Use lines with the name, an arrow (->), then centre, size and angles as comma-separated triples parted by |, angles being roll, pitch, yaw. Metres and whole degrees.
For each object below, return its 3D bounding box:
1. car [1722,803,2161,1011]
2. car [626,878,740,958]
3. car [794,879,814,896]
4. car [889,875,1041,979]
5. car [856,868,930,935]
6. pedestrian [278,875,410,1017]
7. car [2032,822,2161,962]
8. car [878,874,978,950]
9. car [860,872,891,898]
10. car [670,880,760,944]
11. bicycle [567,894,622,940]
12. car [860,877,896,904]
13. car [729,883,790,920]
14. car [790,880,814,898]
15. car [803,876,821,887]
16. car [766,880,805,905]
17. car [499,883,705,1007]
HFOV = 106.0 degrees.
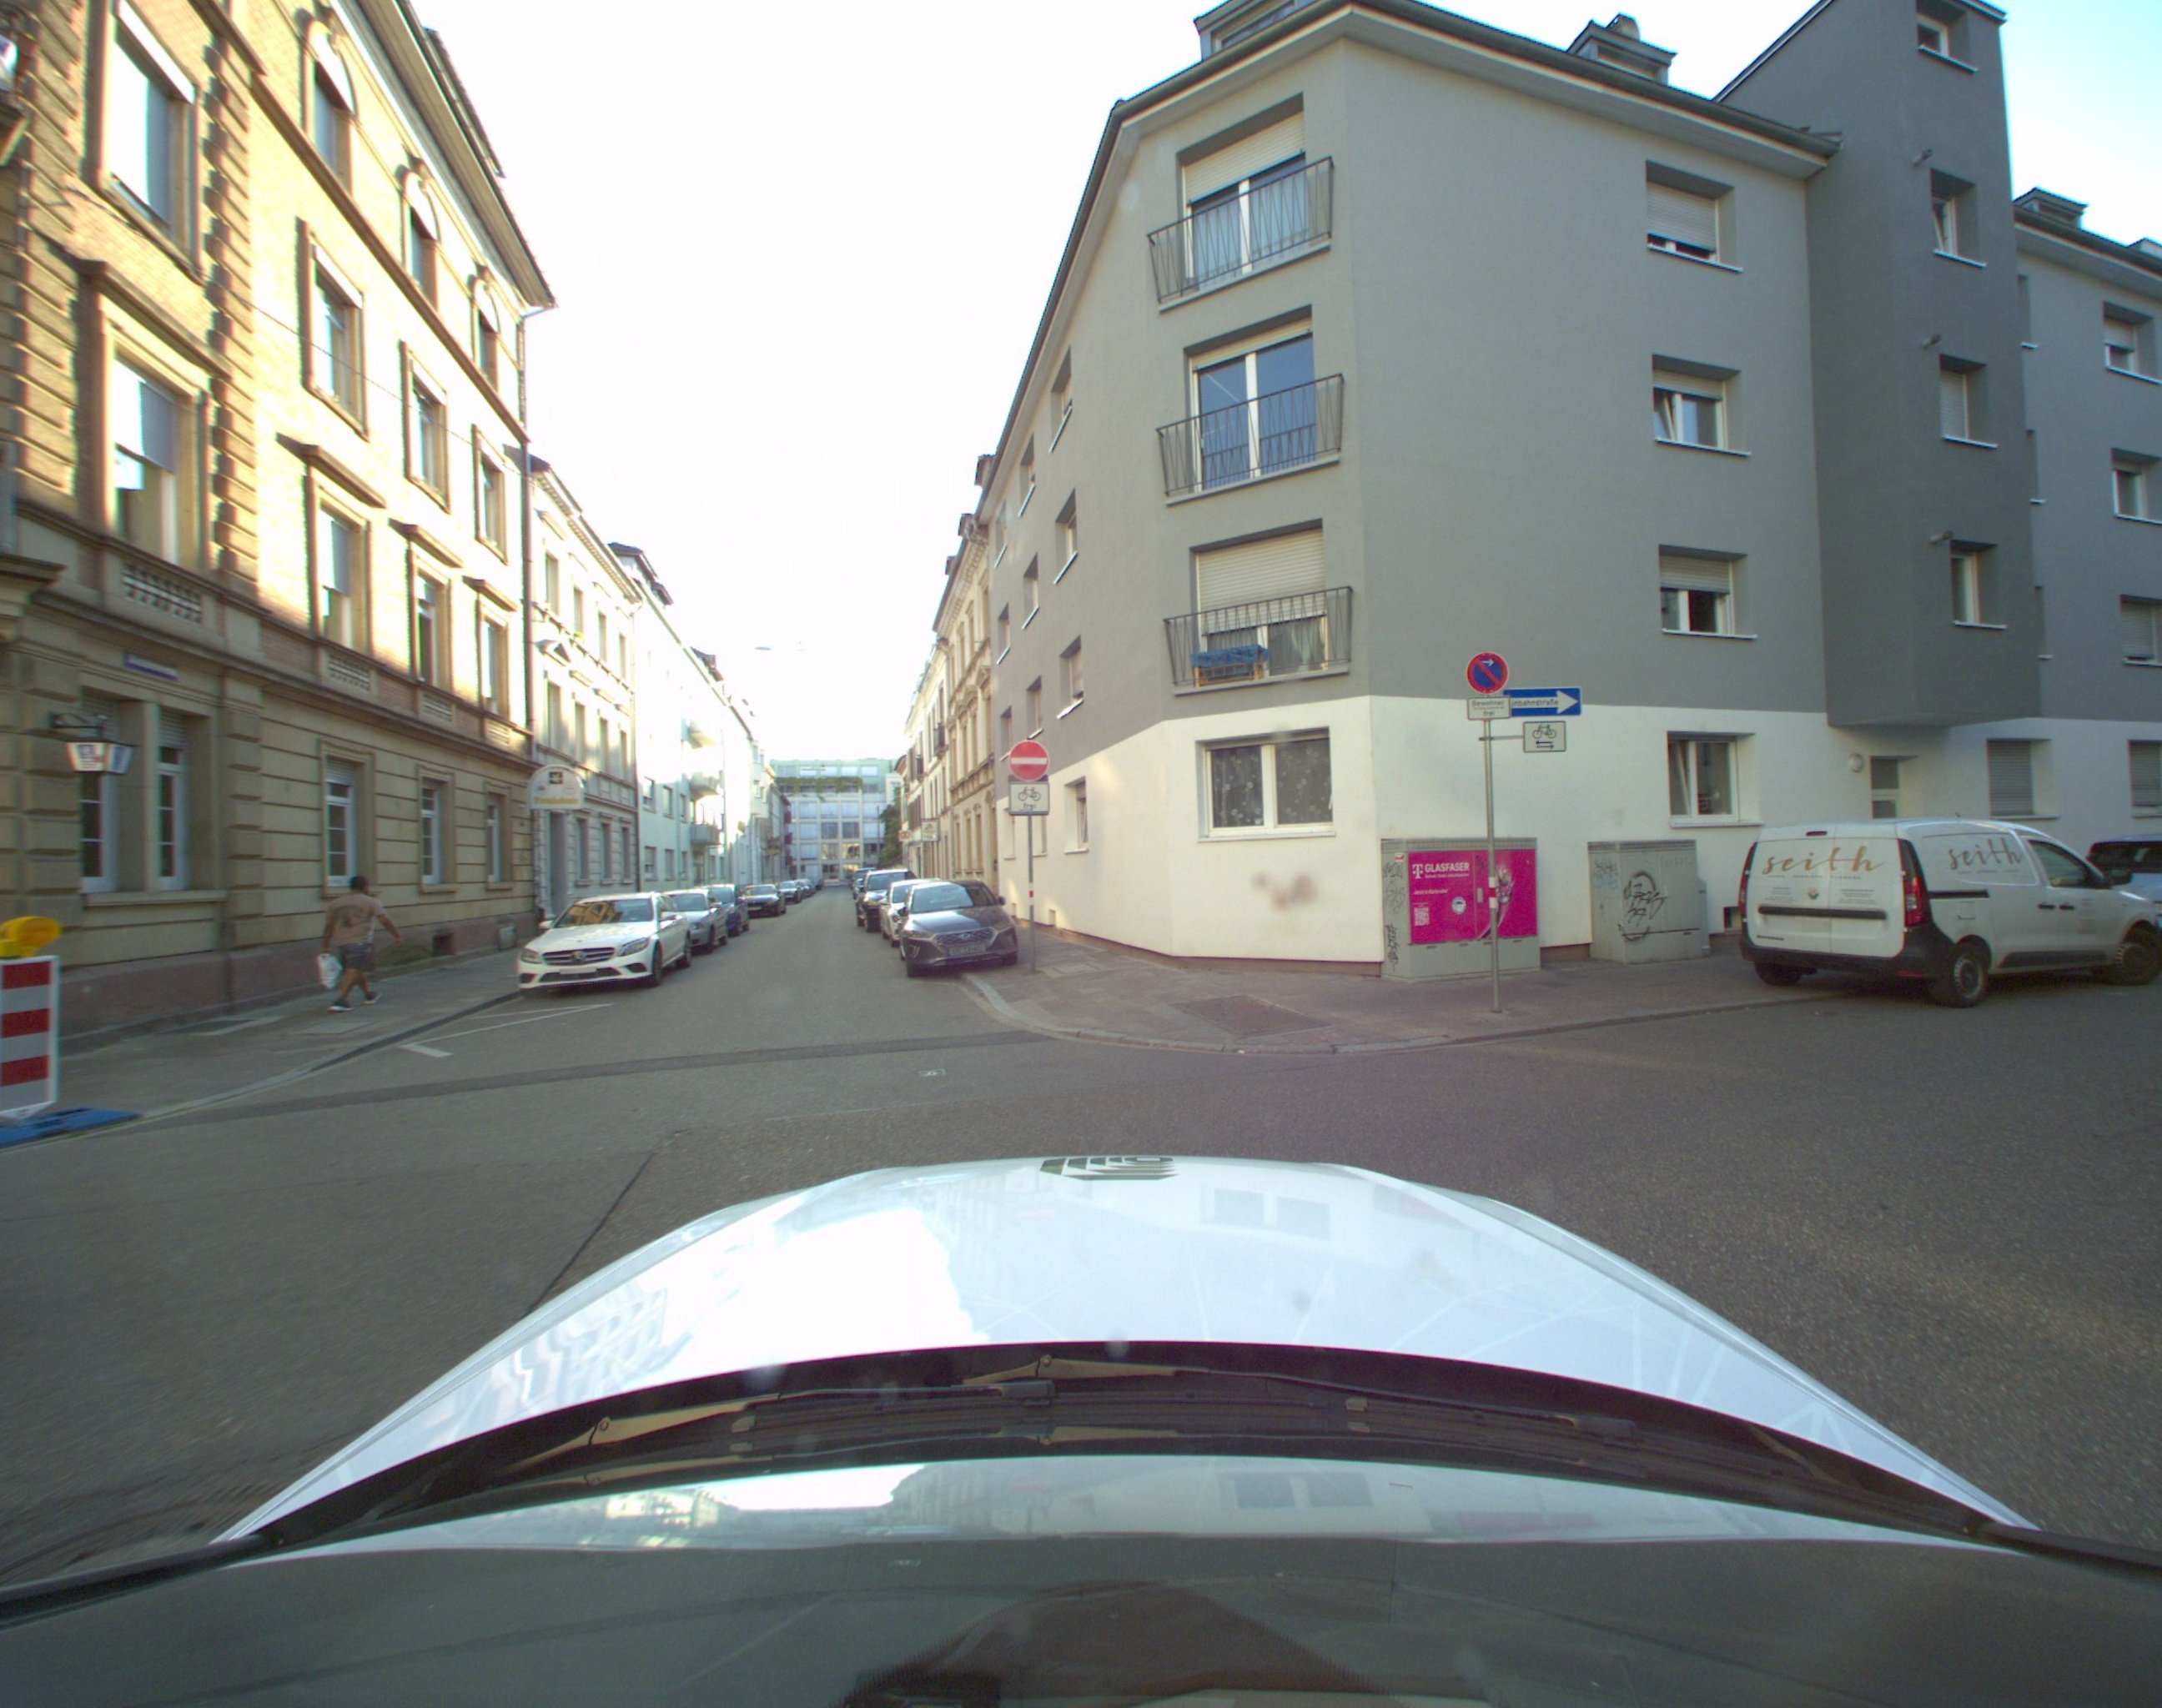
car -> 9.310, 0.459, 8.791 | 4.182, 1.814, 1.627 | -2, -1, -17
car -> -9.110, 1.383, 18.922 | 1.627, 1.577, 3.735 | -2, -1, -15
car -> -25.331, 3.015, 74.506 | 1.590, 1.410, 3.368 | -2, -1, -19
car -> -2.140, 1.118, 14.018 | 1.943, 1.372, 3.766 | -4, 0, -17
car -> -5.819, 1.366, 24.907 | 1.898, 1.784, 3.976 | -2, -1, -17
pedestrian -> -9.653, 1.153, 10.726 | 0.985, 1.742, 1.009 | 0, -1, -22
car -> 14.356, 0.367, 10.197 | 4.368, 1.564, 1.757 | -3, -1, -21
car -> -3.828, 1.303, 19.810 | 1.968, 1.557, 3.866 | -2, -1, -17
car -> -14.967, 2.216, 59.270 | 1.998, 1.700, 3.977 | -2, -1, -17
car -> -10.842, 1.648, 24.356 | 1.788, 1.659, 3.797 | -2, -1, -15
bicycle -> -13.955, 1.783, 23.416 | 0.739, 1.161, 2.447 | -2, -1, -16
car -> -12.235, 2.169, 48.993 | 1.997, 1.451, 3.979 | -2, -1, -15
car -> -13.831, 1.993, 35.267 | 1.998, 1.355, 4.403 | -2, -1, -16
car -> -23.493, 2.935, 68.699 | 1.711, 1.302, 3.976 | -2, -1, -17
car -> -34.134, 3.515, 103.373 | 1.999, 1.309, 3.858 | -2, -1, -18
car -> -18.920, 2.468, 52.326 | 2.179, 1.418, 3.975 | -2, -1, -18
car -> -7.746, 1.343, 13.690 | 1.999, 1.564, 4.478 | -2, -1, -18
